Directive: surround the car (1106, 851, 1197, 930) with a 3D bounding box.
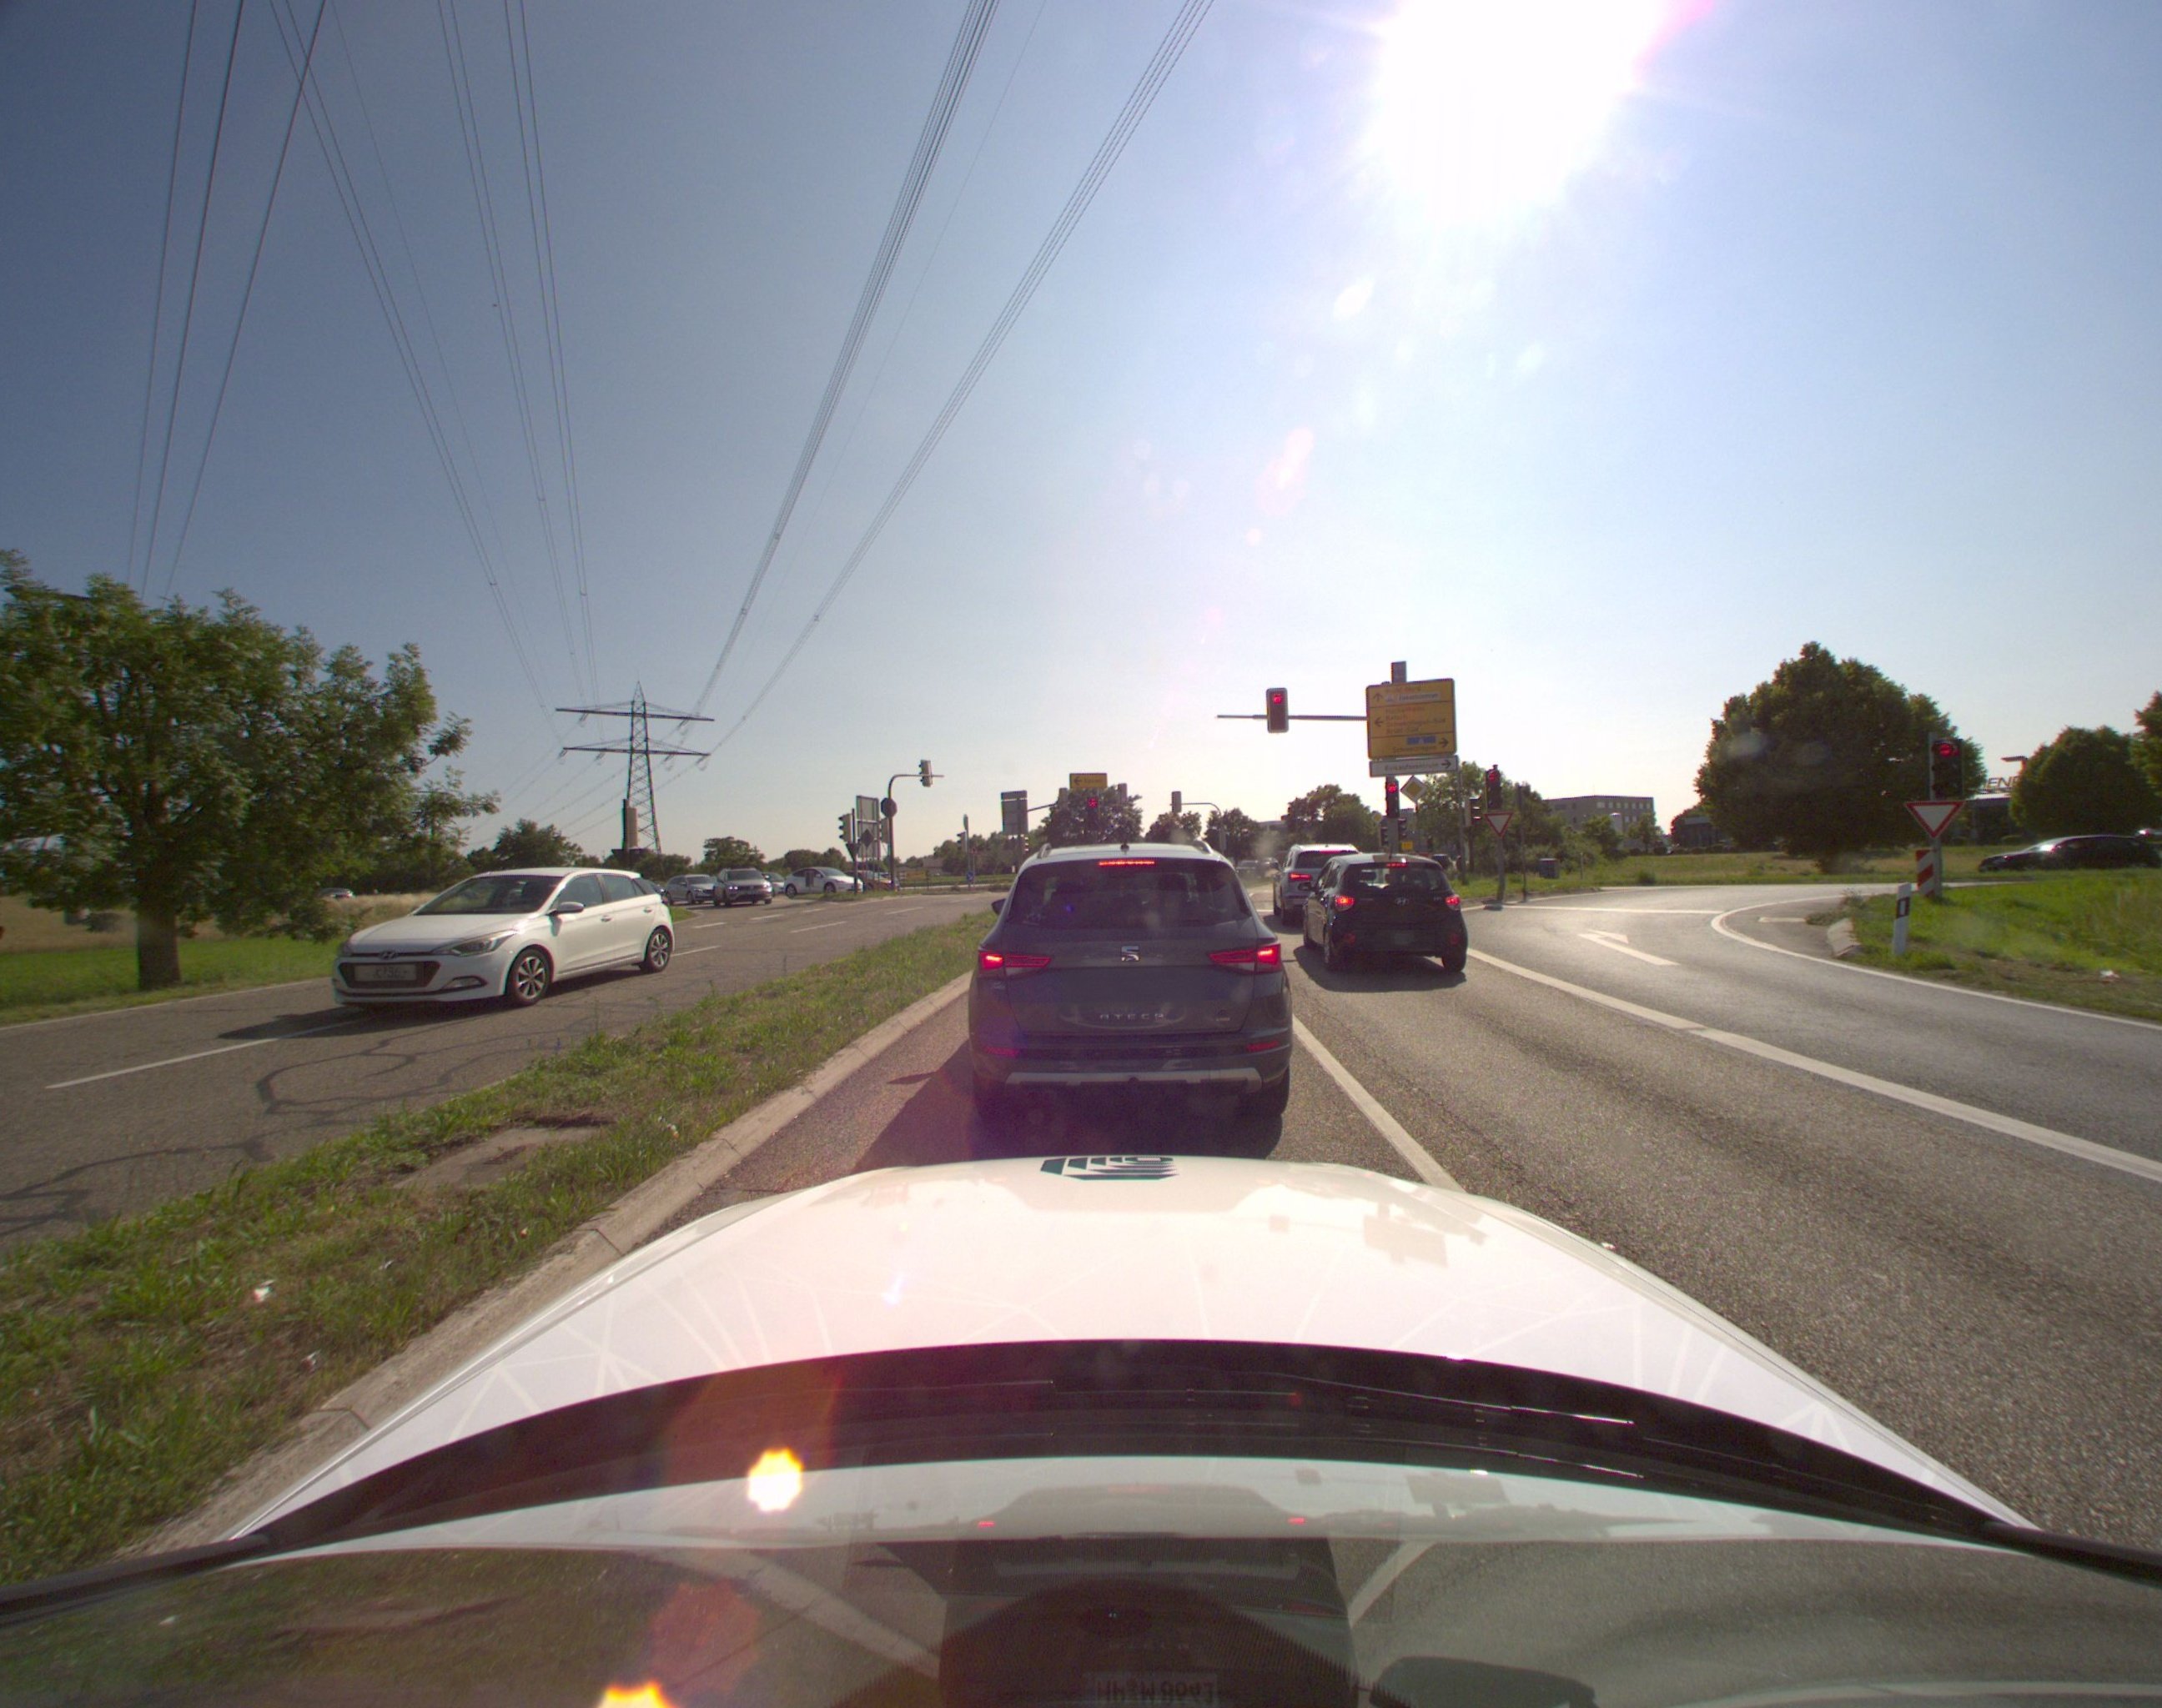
[{"bbox_3d":[1.572,0.711,17.356,1.732,1.484,3.631,0,-1,7],"label":"car"}]

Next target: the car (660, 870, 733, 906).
[{"bbox_3d":[-19.027,1.688,40.243,3.949,1.651,1.831,-2,-1,42],"label":"car"}]

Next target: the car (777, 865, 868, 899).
[{"bbox_3d":[-13.709,1.490,43.112,4.700,1.651,1.831,-2,-1,29],"label":"car"}]

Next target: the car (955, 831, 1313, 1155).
[{"bbox_3d":[0.312,0.690,5.771,1.735,1.569,3.625,0,-1,2],"label":"car"}]

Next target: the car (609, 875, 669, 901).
[{"bbox_3d":[-30.732,2.350,56.570,3.949,1.651,1.831,-2,-1,29],"label":"car"}]

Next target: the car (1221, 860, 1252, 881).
[{"bbox_3d":[13.323,1.382,69.693,1.860,1.673,3.790,0,-1,23],"label":"car"}]

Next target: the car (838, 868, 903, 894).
[{"bbox_3d":[-13.900,1.781,53.690,3.832,1.519,1.818,-2,-1,25],"label":"car"}]

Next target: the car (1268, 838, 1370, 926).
[{"bbox_3d":[5.016,0.556,17.571,1.623,1.677,3.758,-1,0,9],"label":"car"}]

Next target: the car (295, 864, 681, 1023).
[{"bbox_3d":[-6.630,0.875,9.746,1.712,1.465,3.912,-1,0,0],"label":"car"}]

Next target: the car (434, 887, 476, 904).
[{"bbox_3d":[-61.525,4.093,80.041,3.831,1.519,1.818,-2,-1,27],"label":"car"}]

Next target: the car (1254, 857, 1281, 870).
[{"bbox_3d":[21.675,1.115,94.457,1.701,1.497,3.794,0,-1,37],"label":"car"}]

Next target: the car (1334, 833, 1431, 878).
[{"bbox_3d":[13.989,0.085,37.822,3.969,1.953,1.706,-2,-1,30],"label":"car"}]

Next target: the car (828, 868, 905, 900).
[{"bbox_3d":[-12.122,1.696,45.983,3.949,1.651,1.831,-2,-1,29],"label":"car"}]

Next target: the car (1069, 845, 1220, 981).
[{"bbox_3d":[0.822,0.704,11.248,1.735,1.569,3.626,0,-1,3],"label":"car"}]

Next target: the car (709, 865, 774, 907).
[{"bbox_3d":[-14.574,1.348,34.877,1.827,1.651,3.958,-1,-1,-34],"label":"car"}]

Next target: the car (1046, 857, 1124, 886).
[{"bbox_3d":[0.213,1.000,45.907,3.986,1.519,1.818,-2,-1,27],"label":"car"}]

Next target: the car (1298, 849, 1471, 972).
[{"bbox_3d":[4.048,0.680,11.360,1.623,1.448,3.303,-1,0,9],"label":"car"}]

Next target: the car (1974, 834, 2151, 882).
[{"bbox_3d":[32.802,0.137,27.348,3.500,1.516,1.471,0,-1,29],"label":"car"}]

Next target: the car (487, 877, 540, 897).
[{"bbox_3d":[-44.877,2.602,64.418,3.949,1.486,1.831,0,-1,28],"label":"car"}]

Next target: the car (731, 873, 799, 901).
[{"bbox_3d":[-19.620,2.052,50.526,3.949,1.651,1.831,-2,-1,29],"label":"car"}]

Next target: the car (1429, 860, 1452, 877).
[{"bbox_3d":[35.839,1.456,81.083,1.859,1.673,3.792,0,-1,27],"label":"car"}]
